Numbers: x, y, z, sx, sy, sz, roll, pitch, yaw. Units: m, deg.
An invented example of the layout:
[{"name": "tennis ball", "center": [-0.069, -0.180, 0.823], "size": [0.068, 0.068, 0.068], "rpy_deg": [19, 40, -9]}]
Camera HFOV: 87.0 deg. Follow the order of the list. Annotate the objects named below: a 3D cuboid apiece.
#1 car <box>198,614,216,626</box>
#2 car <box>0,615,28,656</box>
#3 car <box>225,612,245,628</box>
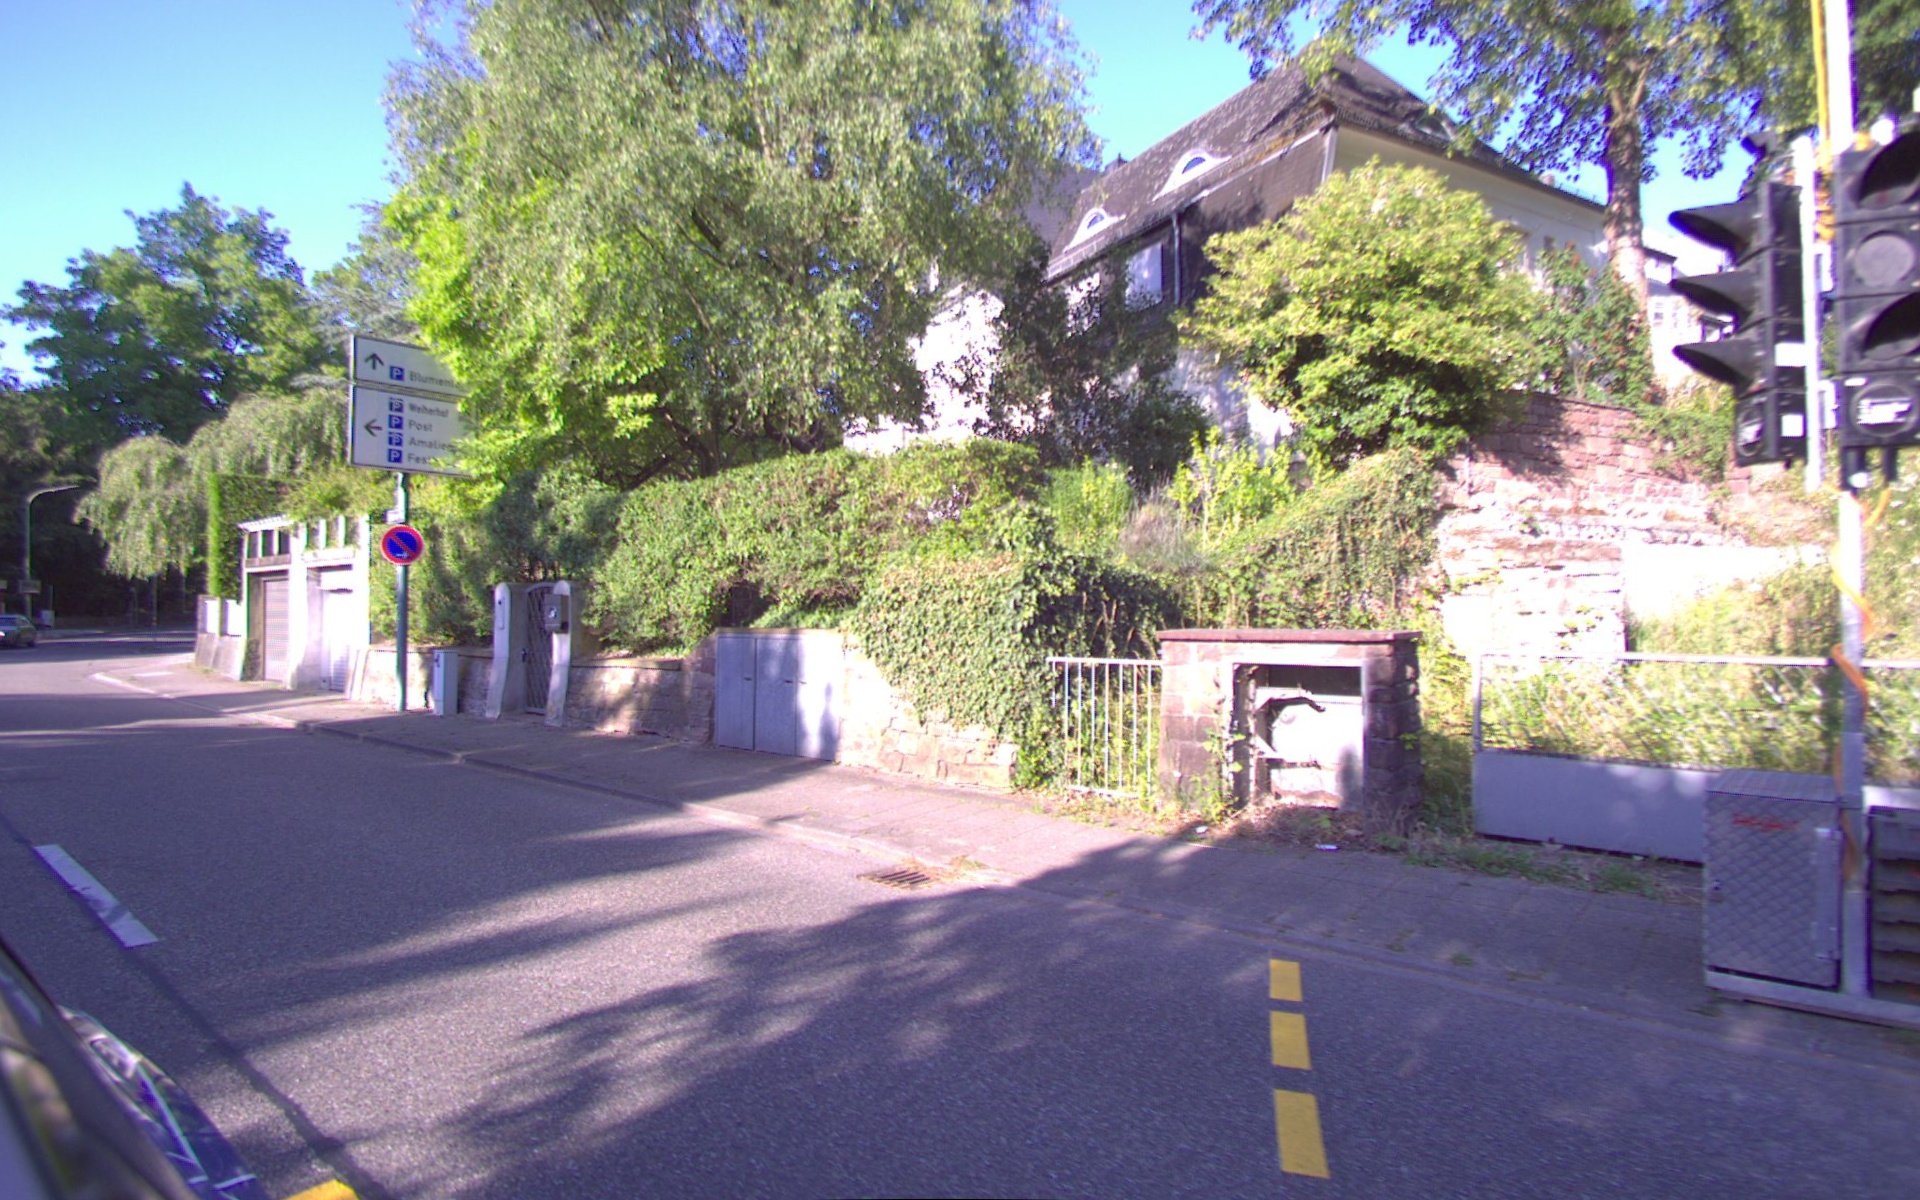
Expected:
[{"name": "car", "center": [-97.553, 2.541, 131.136], "size": [1.795, 1.393, 3.945], "rpy_deg": [4, -2, -36]}, {"name": "car", "center": [-40.720, 1.481, 42.573], "size": [1.968, 1.652, 4.007], "rpy_deg": [-2, 1, -39]}, {"name": "car", "center": [-93.704, 2.556, 130.775], "size": [1.967, 2.029, 4.010], "rpy_deg": [-1, -1, -34]}]
